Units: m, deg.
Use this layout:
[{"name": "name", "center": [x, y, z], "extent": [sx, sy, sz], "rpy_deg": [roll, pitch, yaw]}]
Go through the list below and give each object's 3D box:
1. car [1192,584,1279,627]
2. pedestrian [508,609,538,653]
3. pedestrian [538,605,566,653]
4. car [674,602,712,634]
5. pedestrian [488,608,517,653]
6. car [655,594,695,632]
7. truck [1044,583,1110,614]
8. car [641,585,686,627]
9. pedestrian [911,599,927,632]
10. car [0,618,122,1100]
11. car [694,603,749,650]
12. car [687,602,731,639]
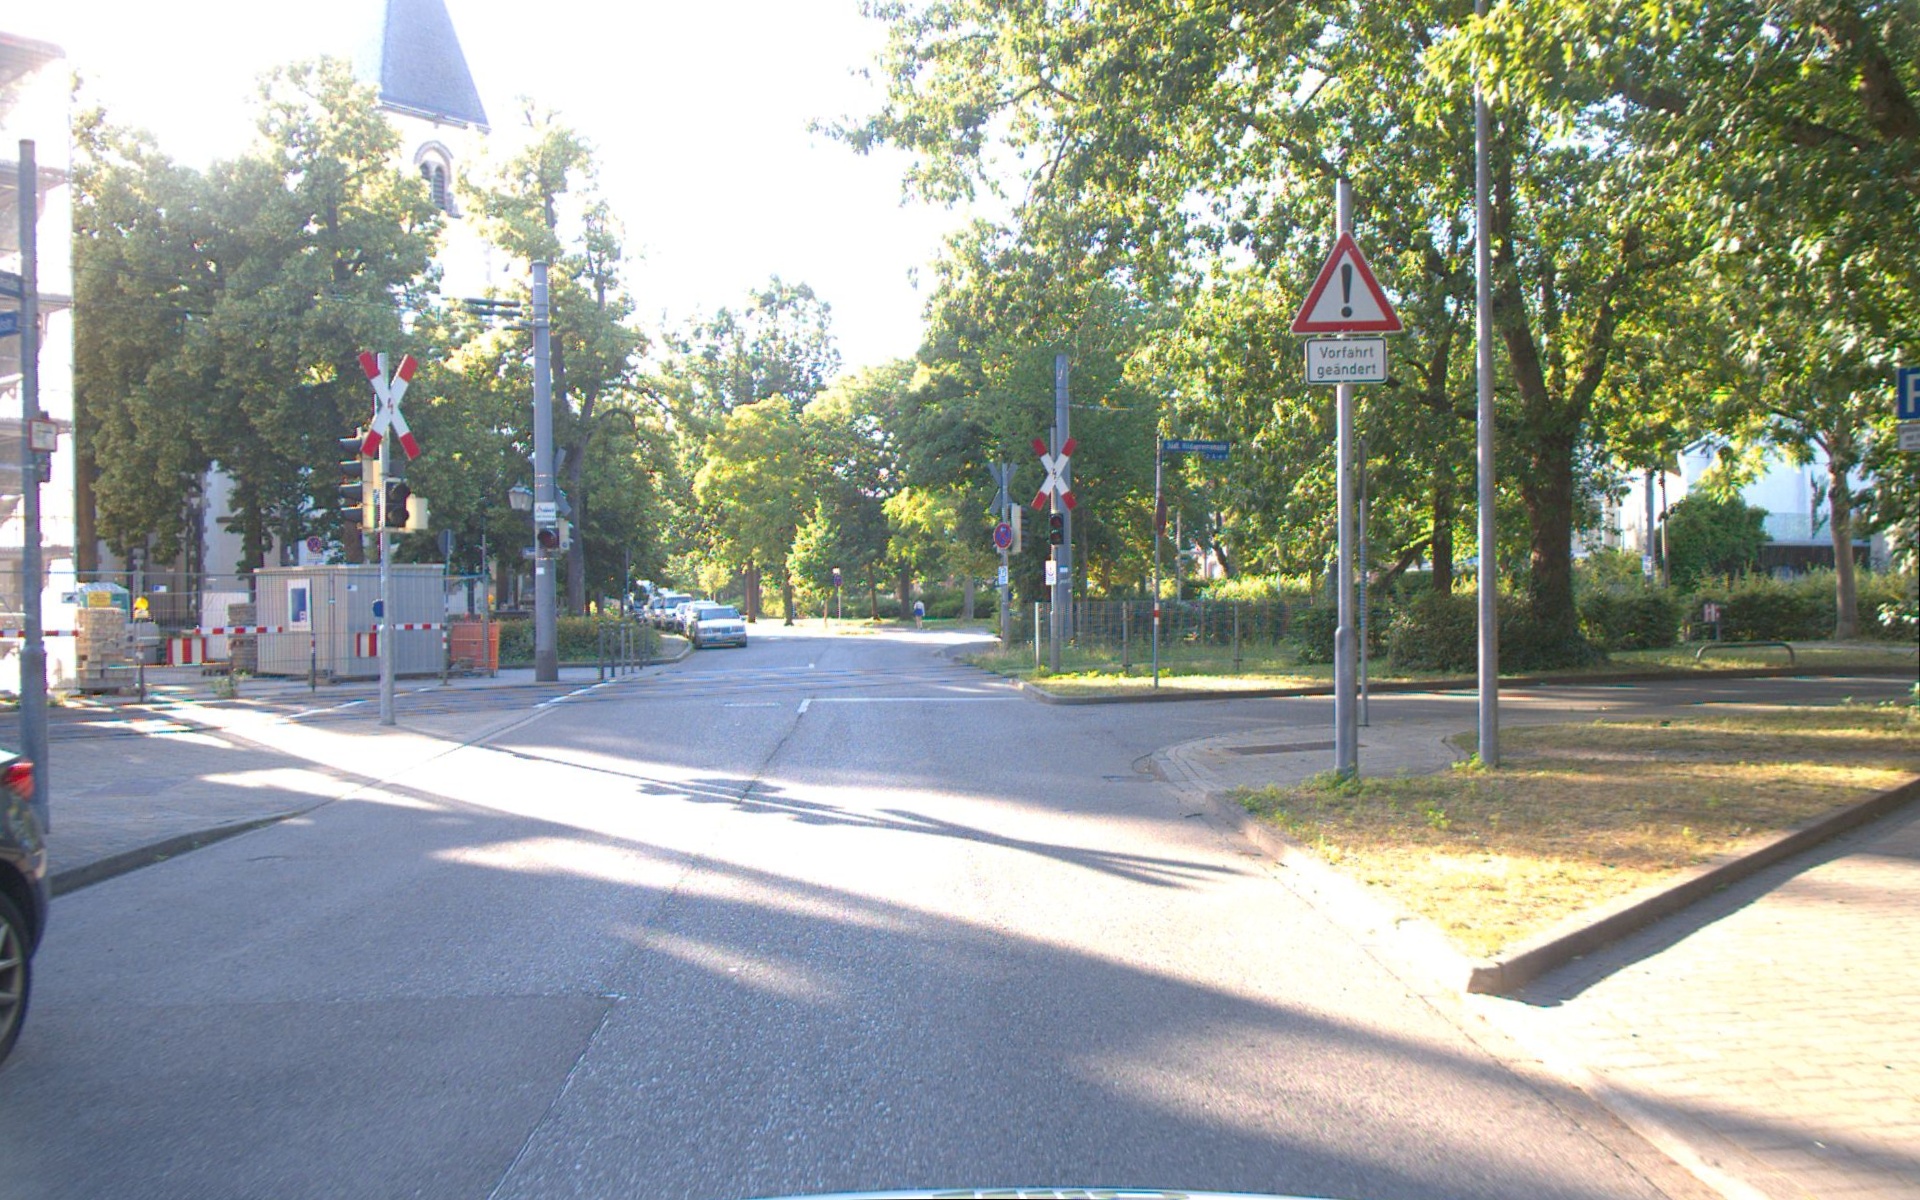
[{"name": "car", "center": [13.455, 0.256, 80.504], "extent": [1.922, 2.049, 5.128], "rpy_deg": [-1, 0, 39]}, {"name": "pedestrian", "center": [-12.364, 0.883, 46.820], "extent": [0.539, 1.216, 0.884], "rpy_deg": [-1, 0, 4]}, {"name": "pedestrian", "center": [-11.580, 0.820, 46.966], "extent": [0.539, 1.320, 0.766], "rpy_deg": [-1, 0, 4]}, {"name": "car", "center": [-13.234, 0.868, 81.823], "extent": [1.588, 1.527, 3.683], "rpy_deg": [-1, 0, -14]}, {"name": "pedestrian", "center": [-12.939, 0.852, 46.781], "extent": [0.539, 1.254, 0.725], "rpy_deg": [-1, 0, 4]}, {"name": "car", "center": [-15.517, 0.677, 90.005], "extent": [1.820, 1.980, 4.823], "rpy_deg": [-1, 0, -14]}, {"name": "truck", "center": [12.126, -0.124, 172.037], "extent": [2.581, 3.082, 7.915], "rpy_deg": [0, 0, -33]}, {"name": "car", "center": [-17.385, 0.335, 96.959], "extent": [1.823, 2.397, 5.157], "rpy_deg": [-1, 0, -19]}, {"name": "pedestrian", "center": [-2.004, 0.761, 80.970], "extent": [0.758, 1.602, 0.767], "rpy_deg": [-1, 0, -4]}, {"name": "car", "center": [-3.831, 0.816, 3.705], "extent": [1.708, 1.473, 4.208], "rpy_deg": [-1, 0, 0]}, {"name": "car", "center": [-8.273, 0.877, 57.202], "extent": [1.747, 1.440, 4.488], "rpy_deg": [-3, 0, -9]}, {"name": "car", "center": [-10.716, 0.841, 70.428], "extent": [1.584, 1.465, 3.594], "rpy_deg": [-2, 0, -12]}]
